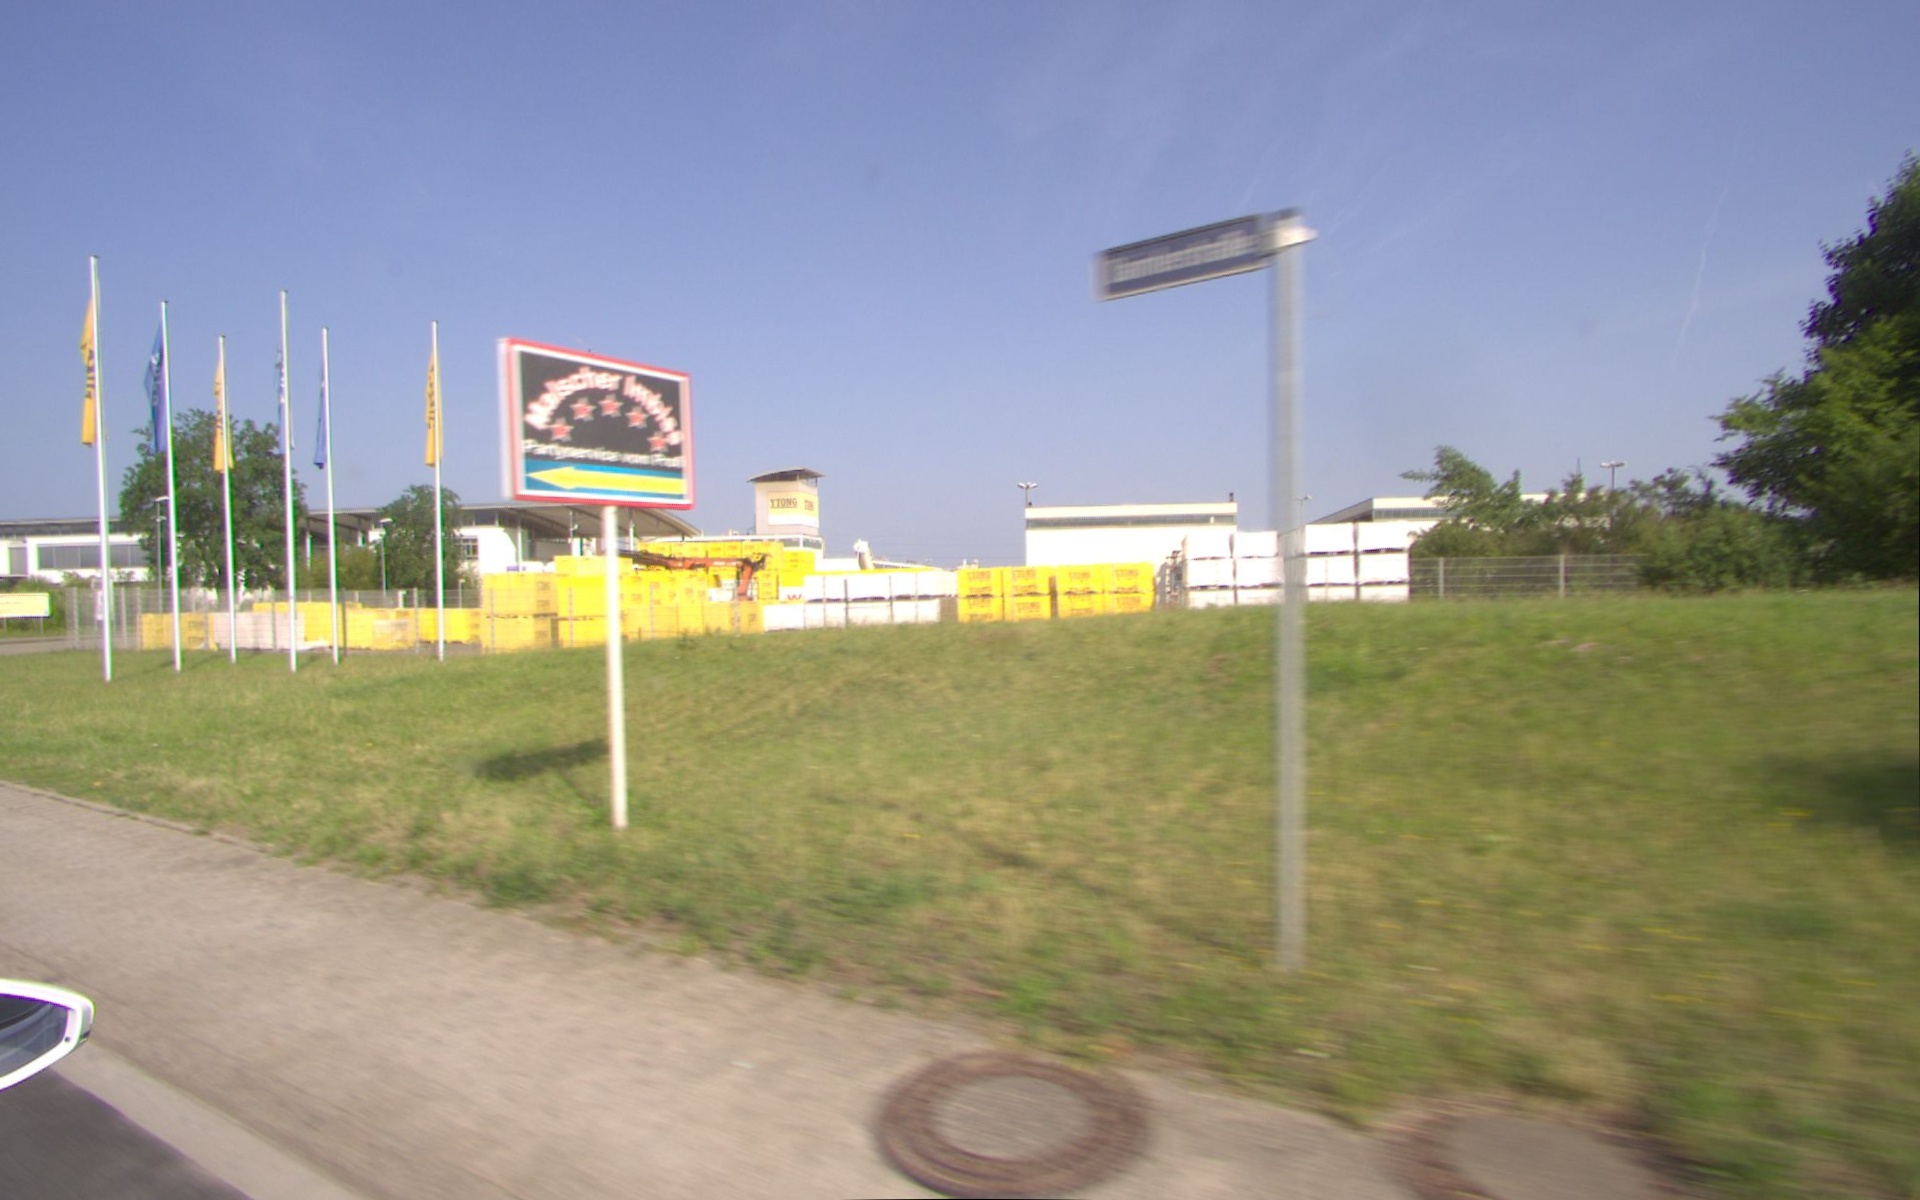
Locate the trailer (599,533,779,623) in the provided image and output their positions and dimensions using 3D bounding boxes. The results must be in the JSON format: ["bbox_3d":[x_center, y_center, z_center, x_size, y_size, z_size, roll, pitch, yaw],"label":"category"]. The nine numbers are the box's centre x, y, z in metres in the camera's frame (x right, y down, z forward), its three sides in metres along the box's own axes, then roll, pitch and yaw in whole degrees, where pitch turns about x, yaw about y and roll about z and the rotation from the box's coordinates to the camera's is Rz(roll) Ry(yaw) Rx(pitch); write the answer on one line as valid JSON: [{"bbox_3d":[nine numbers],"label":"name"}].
[{"bbox_3d":[-12.337,-0.923,45.794,7.652,3.926,2.485,0,-1,10],"label":"trailer"}]

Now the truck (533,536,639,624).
[{"bbox_3d":[-17.404,-0.878,46.740,3.924,3.926,2.545,0,-1,10],"label":"truck"}]
